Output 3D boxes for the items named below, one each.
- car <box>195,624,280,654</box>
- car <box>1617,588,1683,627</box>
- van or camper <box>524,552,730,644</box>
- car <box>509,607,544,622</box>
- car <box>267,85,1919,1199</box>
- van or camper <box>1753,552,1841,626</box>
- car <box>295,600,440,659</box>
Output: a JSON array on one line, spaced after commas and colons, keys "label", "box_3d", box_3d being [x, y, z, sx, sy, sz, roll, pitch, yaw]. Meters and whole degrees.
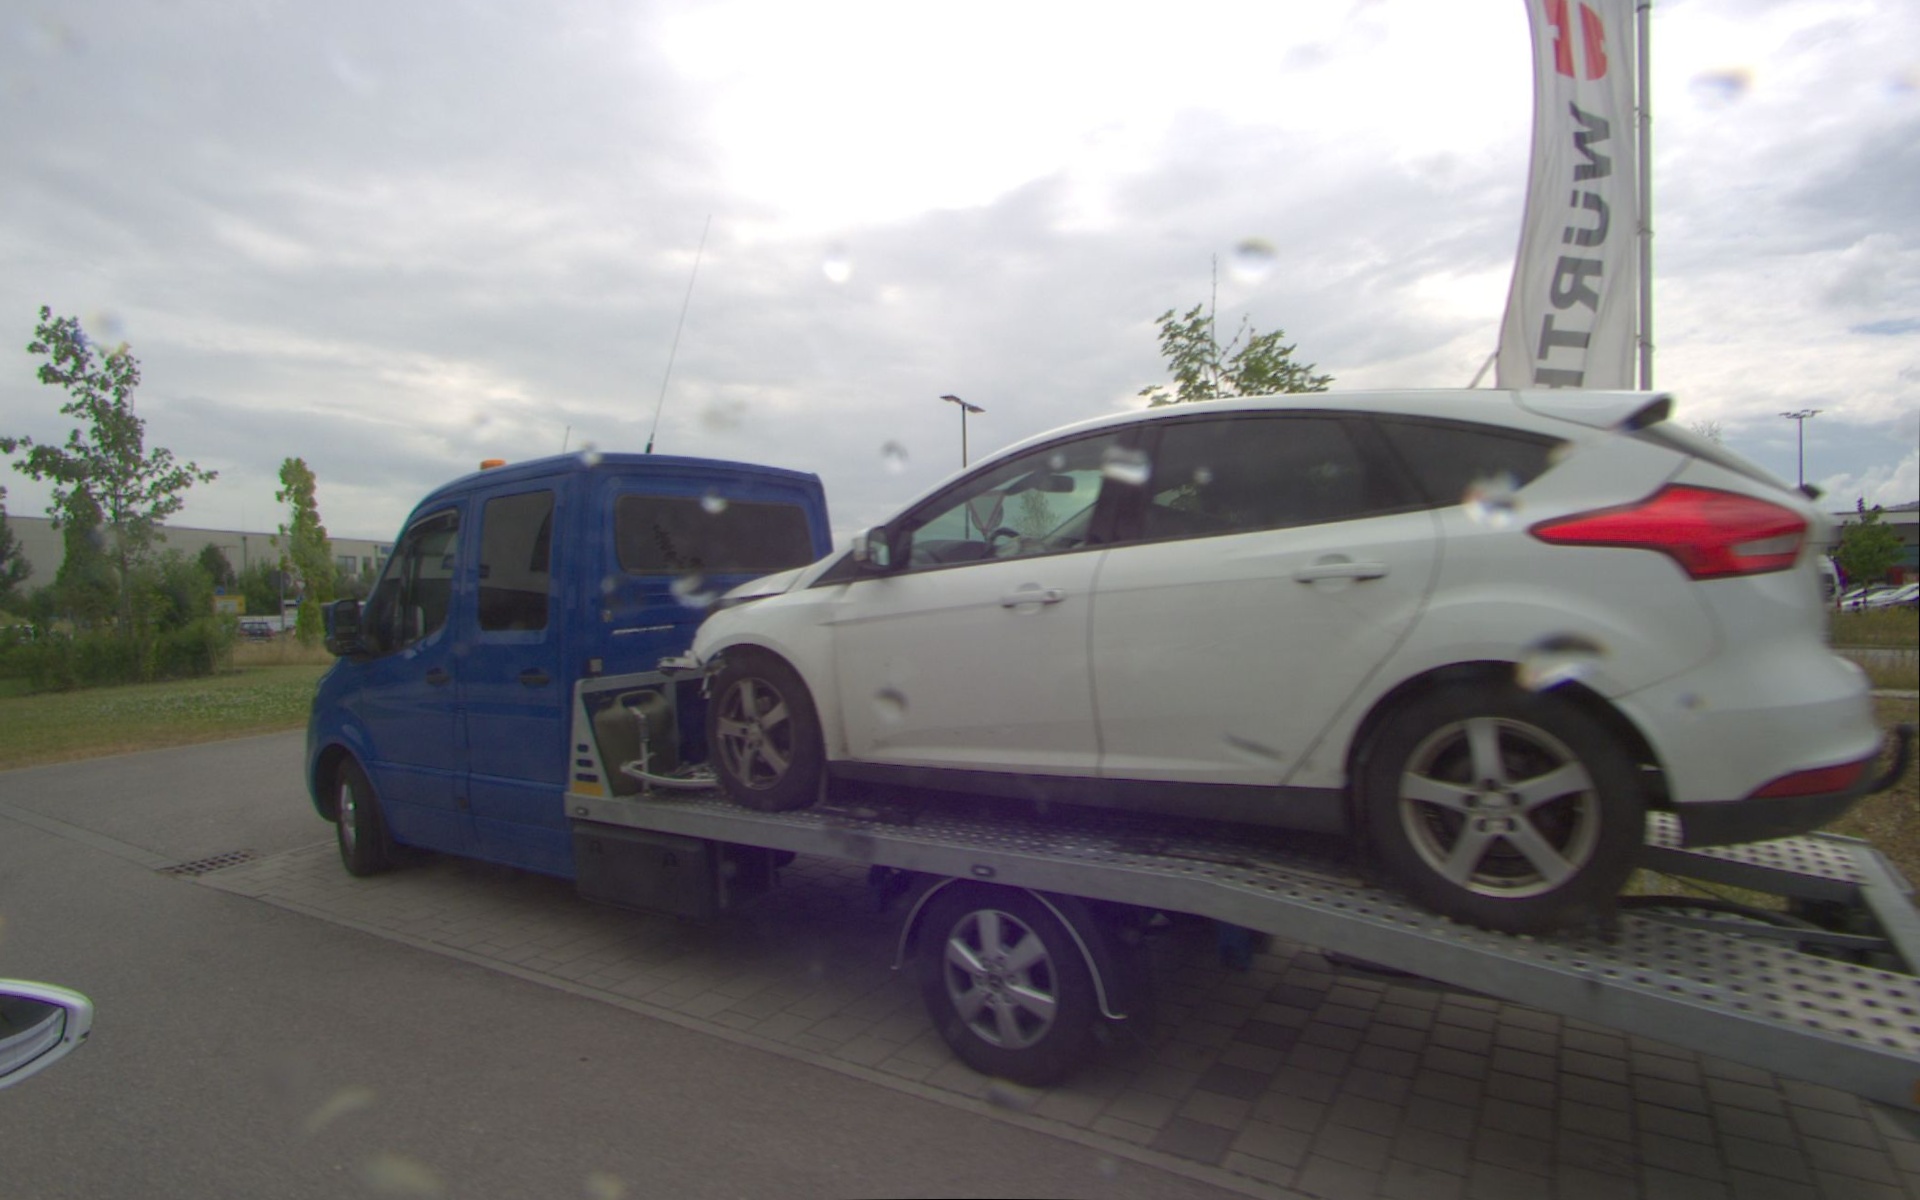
[{"label": "car", "box_3d": [-35.519, 1.895, 49.233, 3.899, 1.361, 1.713, 0, 0, 25]}, {"label": "car", "box_3d": [27.313, 0.317, 39.750, 1.966, 1.470, 4.128, 0, -1, 32]}, {"label": "van or camper", "box_3d": [-10.117, -0.060, 30.325, 6.064, 2.575, 2.189, 0, 1, 24]}, {"label": "car", "box_3d": [-47.501, 1.579, 109.795, 1.650, 1.506, 3.637, 0, 0, 15]}, {"label": "car", "box_3d": [-0.524, 0.309, 4.817, 7.754, 2.353, 2.187, -1, 0, 36]}, {"label": "van or camper", "box_3d": [30.413, -0.373, 36.500, 2.261, 2.526, 3.972, 0, 1, 37]}, {"label": "car", "box_3d": [-20.598, 0.969, 34.808, 4.767, 1.949, 1.993, 0, 1, 25]}]
